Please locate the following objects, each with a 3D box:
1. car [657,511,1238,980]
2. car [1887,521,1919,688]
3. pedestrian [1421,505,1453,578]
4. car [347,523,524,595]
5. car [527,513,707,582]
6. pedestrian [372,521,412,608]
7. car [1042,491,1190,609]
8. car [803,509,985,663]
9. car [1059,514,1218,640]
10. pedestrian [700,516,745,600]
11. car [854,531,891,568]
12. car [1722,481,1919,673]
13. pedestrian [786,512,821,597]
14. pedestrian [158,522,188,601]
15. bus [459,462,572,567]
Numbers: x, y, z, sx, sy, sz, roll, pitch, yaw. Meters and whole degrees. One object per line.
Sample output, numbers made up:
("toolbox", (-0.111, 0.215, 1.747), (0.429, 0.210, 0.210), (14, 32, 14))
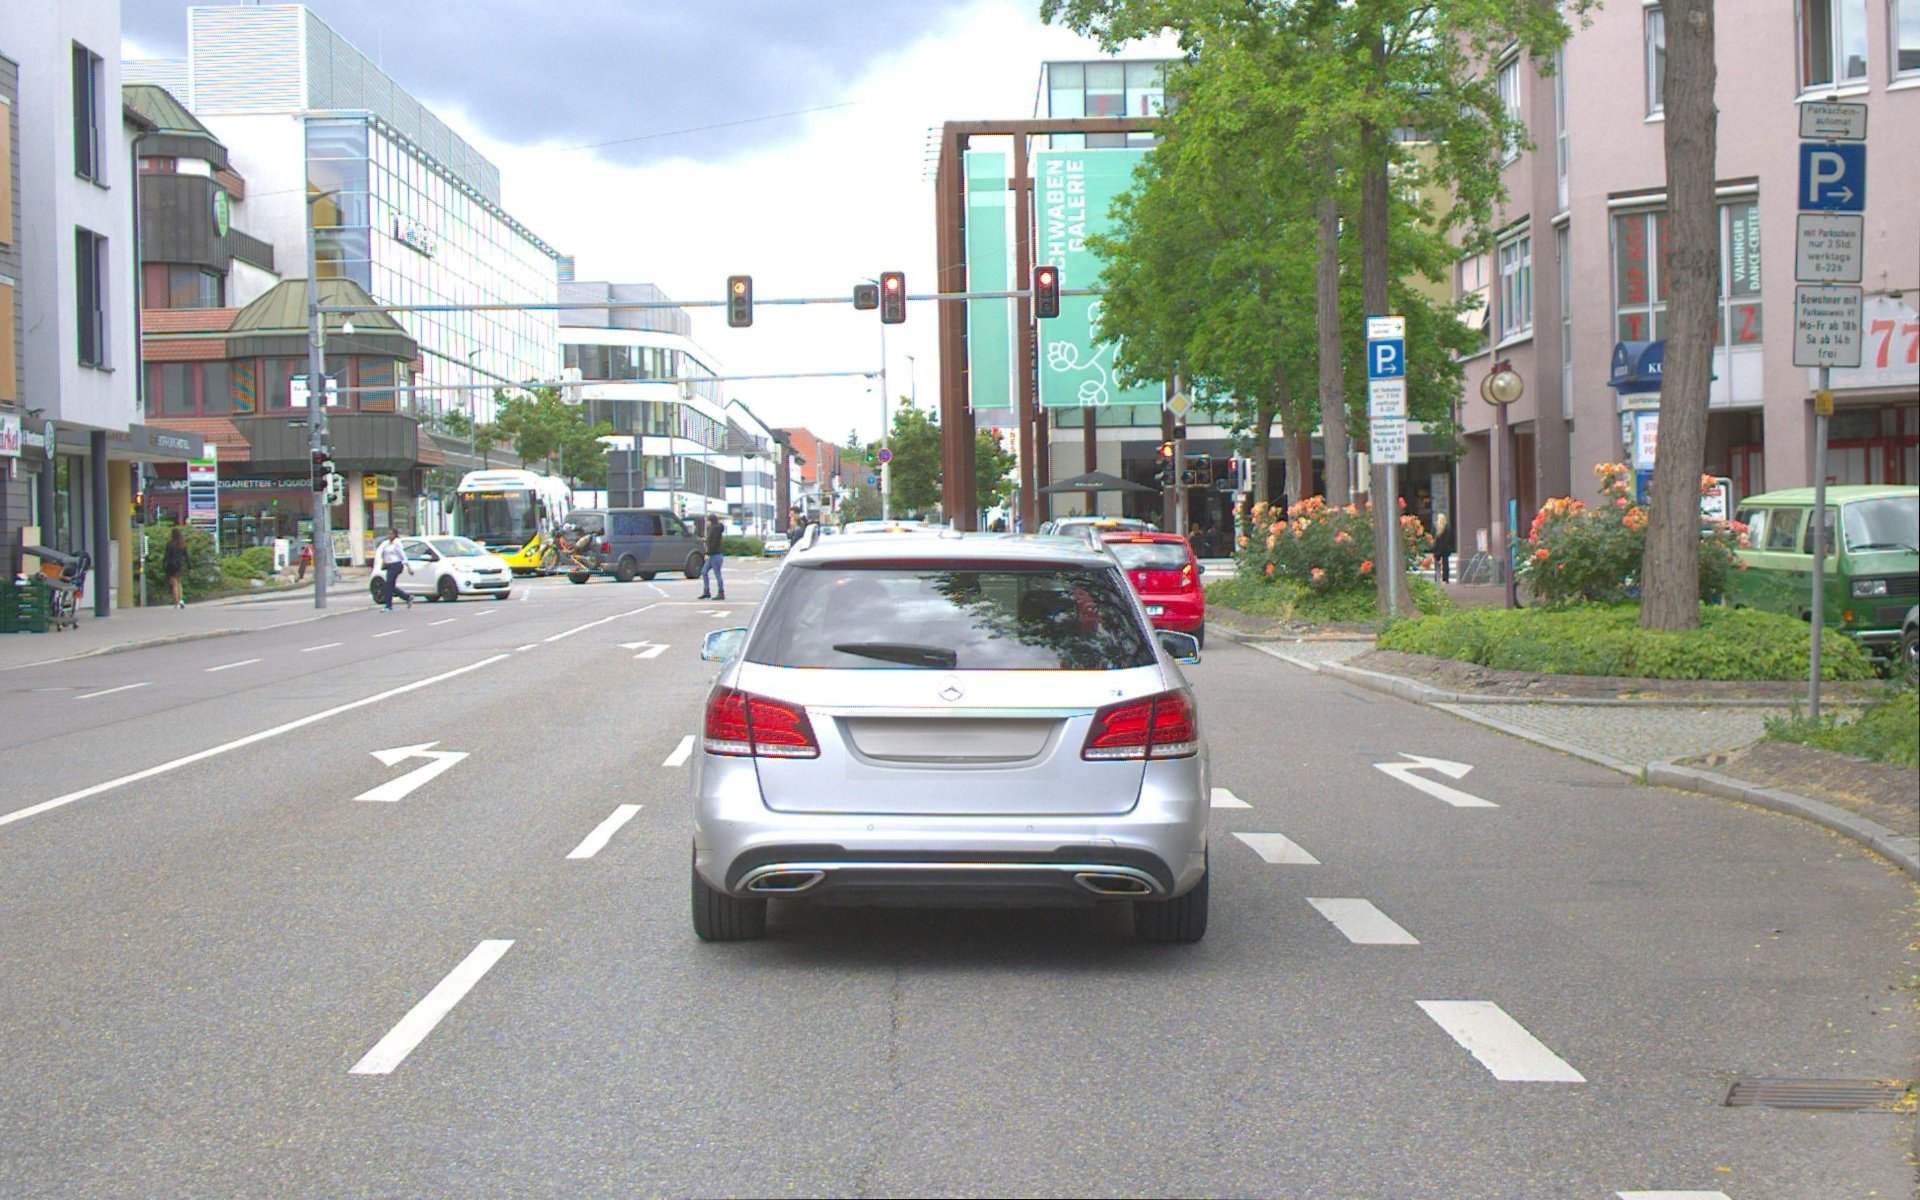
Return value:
("car", (-0.136, 0.432, 13.137), (1.874, 1.501, 4.001), (-1, 1, -3))
("car", (9.716, 0.050, 30.182), (1.866, 1.522, 4.001), (-1, 1, -3))
("pedestrian", (10.847, -1.328, 78.217), (0.613, 1.629, 0.587), (2, 1, 12))
("car", (-11.581, -0.900, 75.800), (3.996, 1.525, 1.662), (0, 2, 41))
("car", (-9.477, -1.477, 95.367), (1.998, 1.816, 4.913), (0, 2, 41))
("pedestrian", (-10.870, -0.674, 65.774), (0.613, 1.629, 0.588), (1, 2, -19))
("car", (2.317, -0.770, 52.029), (1.993, 1.678, 4.000), (-1, 1, -1))
("car", (-0.757, -0.202, 40.329), (1.993, 1.678, 4.000), (-1, 1, -1))
("car", (2.268, -0.315, 44.603), (1.754, 1.515, 4.000), (-1, 1, -1))
("pedestrian", (-4.717, -0.844, 68.300), (0.833, 1.629, 0.588), (2, 1, -4))
("car", (-4.884, -2.836, 192.294), (1.993, 2.007, 4.000), (-1, 1, -1))
("car", (9.385, -0.276, 35.594), (1.866, 1.858, 4.001), (-1, 1, -3))
("pedestrian", (-3.059, -0.889, 67.187), (0.613, 1.629, 0.588), (2, 1, -4))
("pedestrian", (-16.954, -0.837, 74.072), (0.586, 1.664, 0.642), (2, 2, -14))
("bus", (-13.854, -2.673, 107.558), (2.775, 3.154, 5.933), (-1, 1, -1))
